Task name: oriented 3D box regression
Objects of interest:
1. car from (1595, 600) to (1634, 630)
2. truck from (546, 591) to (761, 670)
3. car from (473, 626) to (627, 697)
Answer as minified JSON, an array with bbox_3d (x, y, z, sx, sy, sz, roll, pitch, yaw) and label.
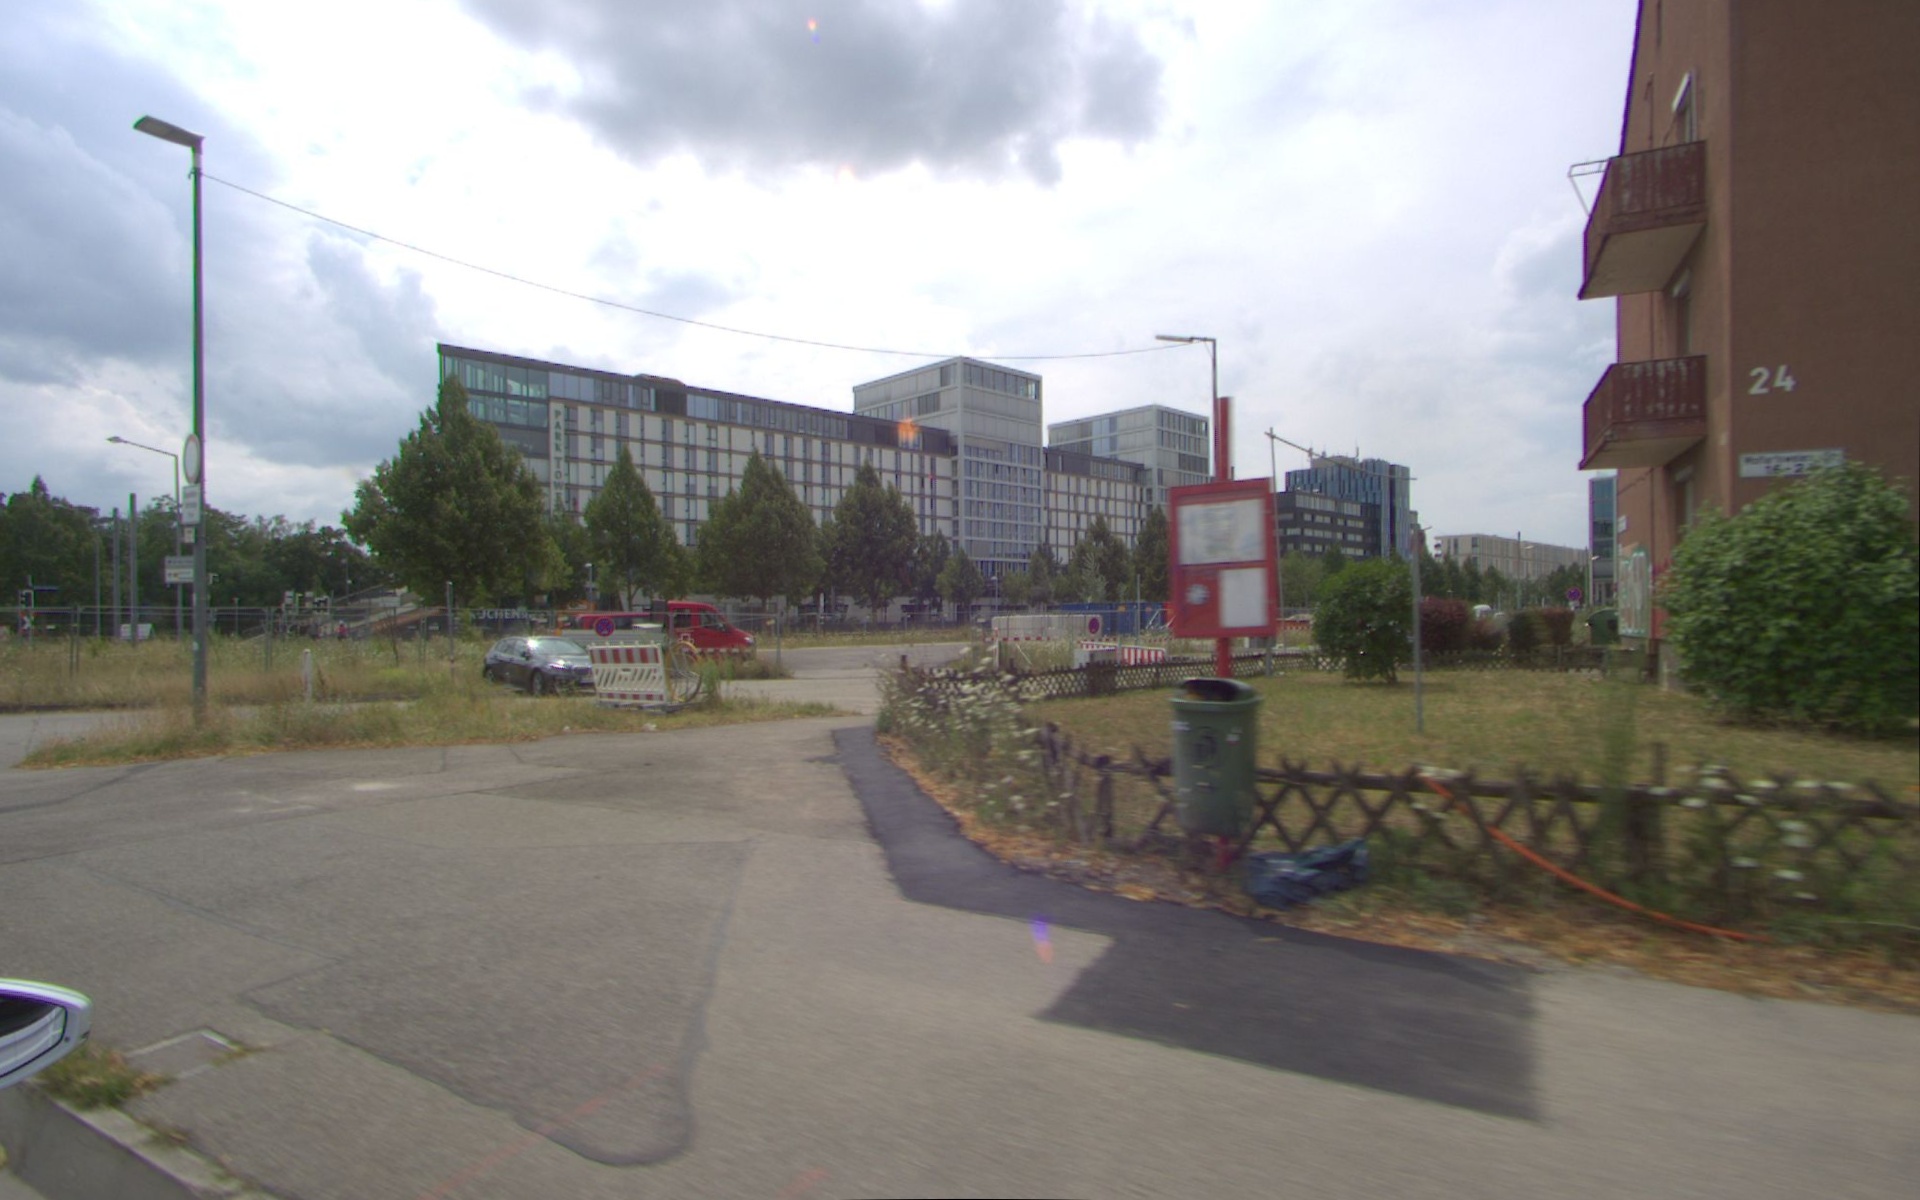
[{"bbox_3d":[73.687,1.682,112.696,2.586,3.123,5.815,-4,-2,43],"label":"car"},{"bbox_3d":[-10.300,0.990,33.876,6.590,2.457,2.520,0,-1,-31],"label":"truck"},{"bbox_3d":[-10.365,1.482,25.200,4.285,1.517,1.842,0,1,41],"label":"car"}]
